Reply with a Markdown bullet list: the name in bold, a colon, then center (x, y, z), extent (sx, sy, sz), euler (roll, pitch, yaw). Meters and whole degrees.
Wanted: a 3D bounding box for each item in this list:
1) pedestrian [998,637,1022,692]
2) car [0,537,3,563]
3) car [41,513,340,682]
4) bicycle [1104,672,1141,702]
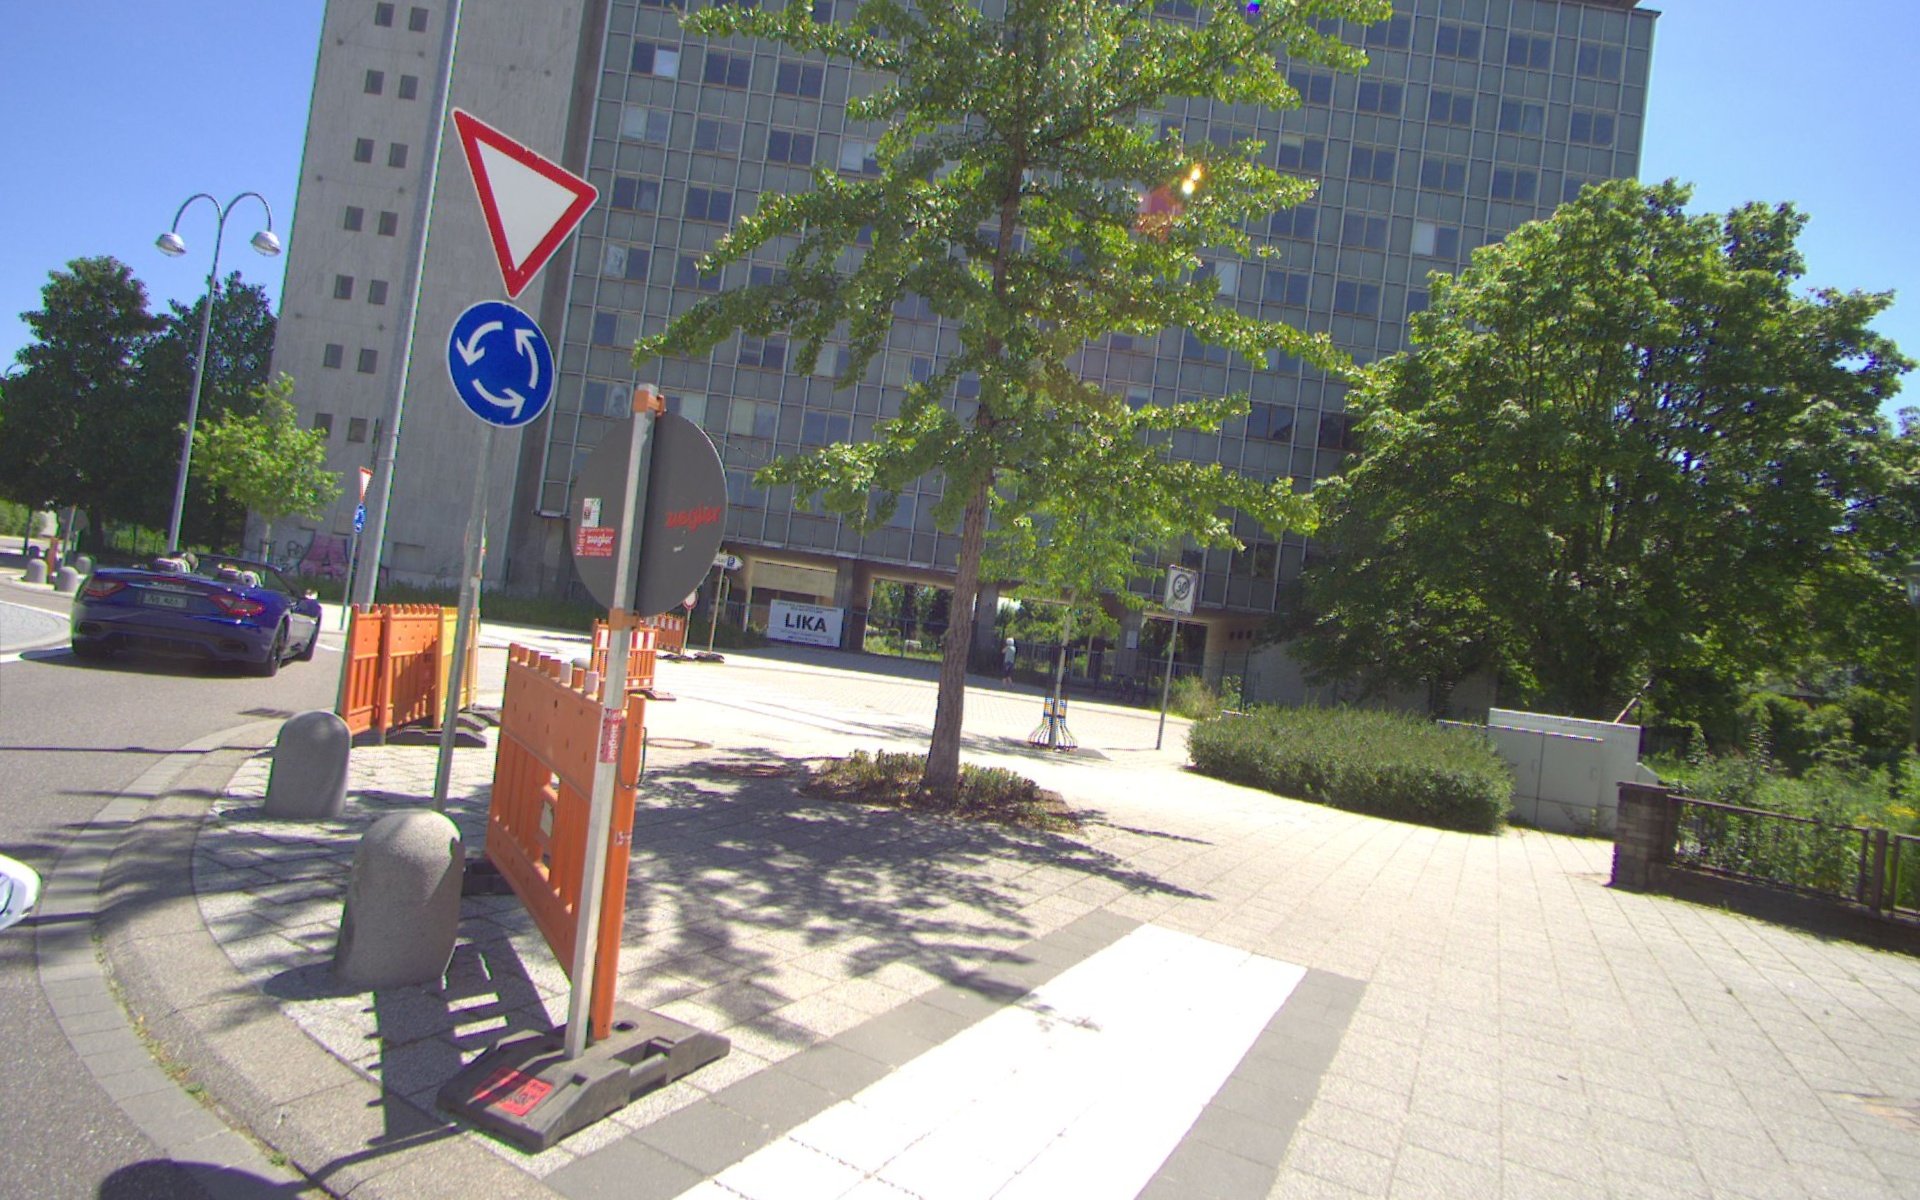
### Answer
- **pedestrian**: center (1.646, 2.109, 33.064), extent (0.555, 1.729, 0.487), euler (7, 1, 6)
- **car**: center (-53.432, -2.800, 54.359), extent (1.728, 1.453, 3.679), euler (7, -2, -33)
- **car**: center (-9.371, 0.031, 12.726), extent (1.853, 1.546, 4.485), euler (8, -4, -24)
- **bicycle**: center (5.891, 3.154, 36.529), extent (0.442, 0.917, 1.747), euler (7, -2, -20)
